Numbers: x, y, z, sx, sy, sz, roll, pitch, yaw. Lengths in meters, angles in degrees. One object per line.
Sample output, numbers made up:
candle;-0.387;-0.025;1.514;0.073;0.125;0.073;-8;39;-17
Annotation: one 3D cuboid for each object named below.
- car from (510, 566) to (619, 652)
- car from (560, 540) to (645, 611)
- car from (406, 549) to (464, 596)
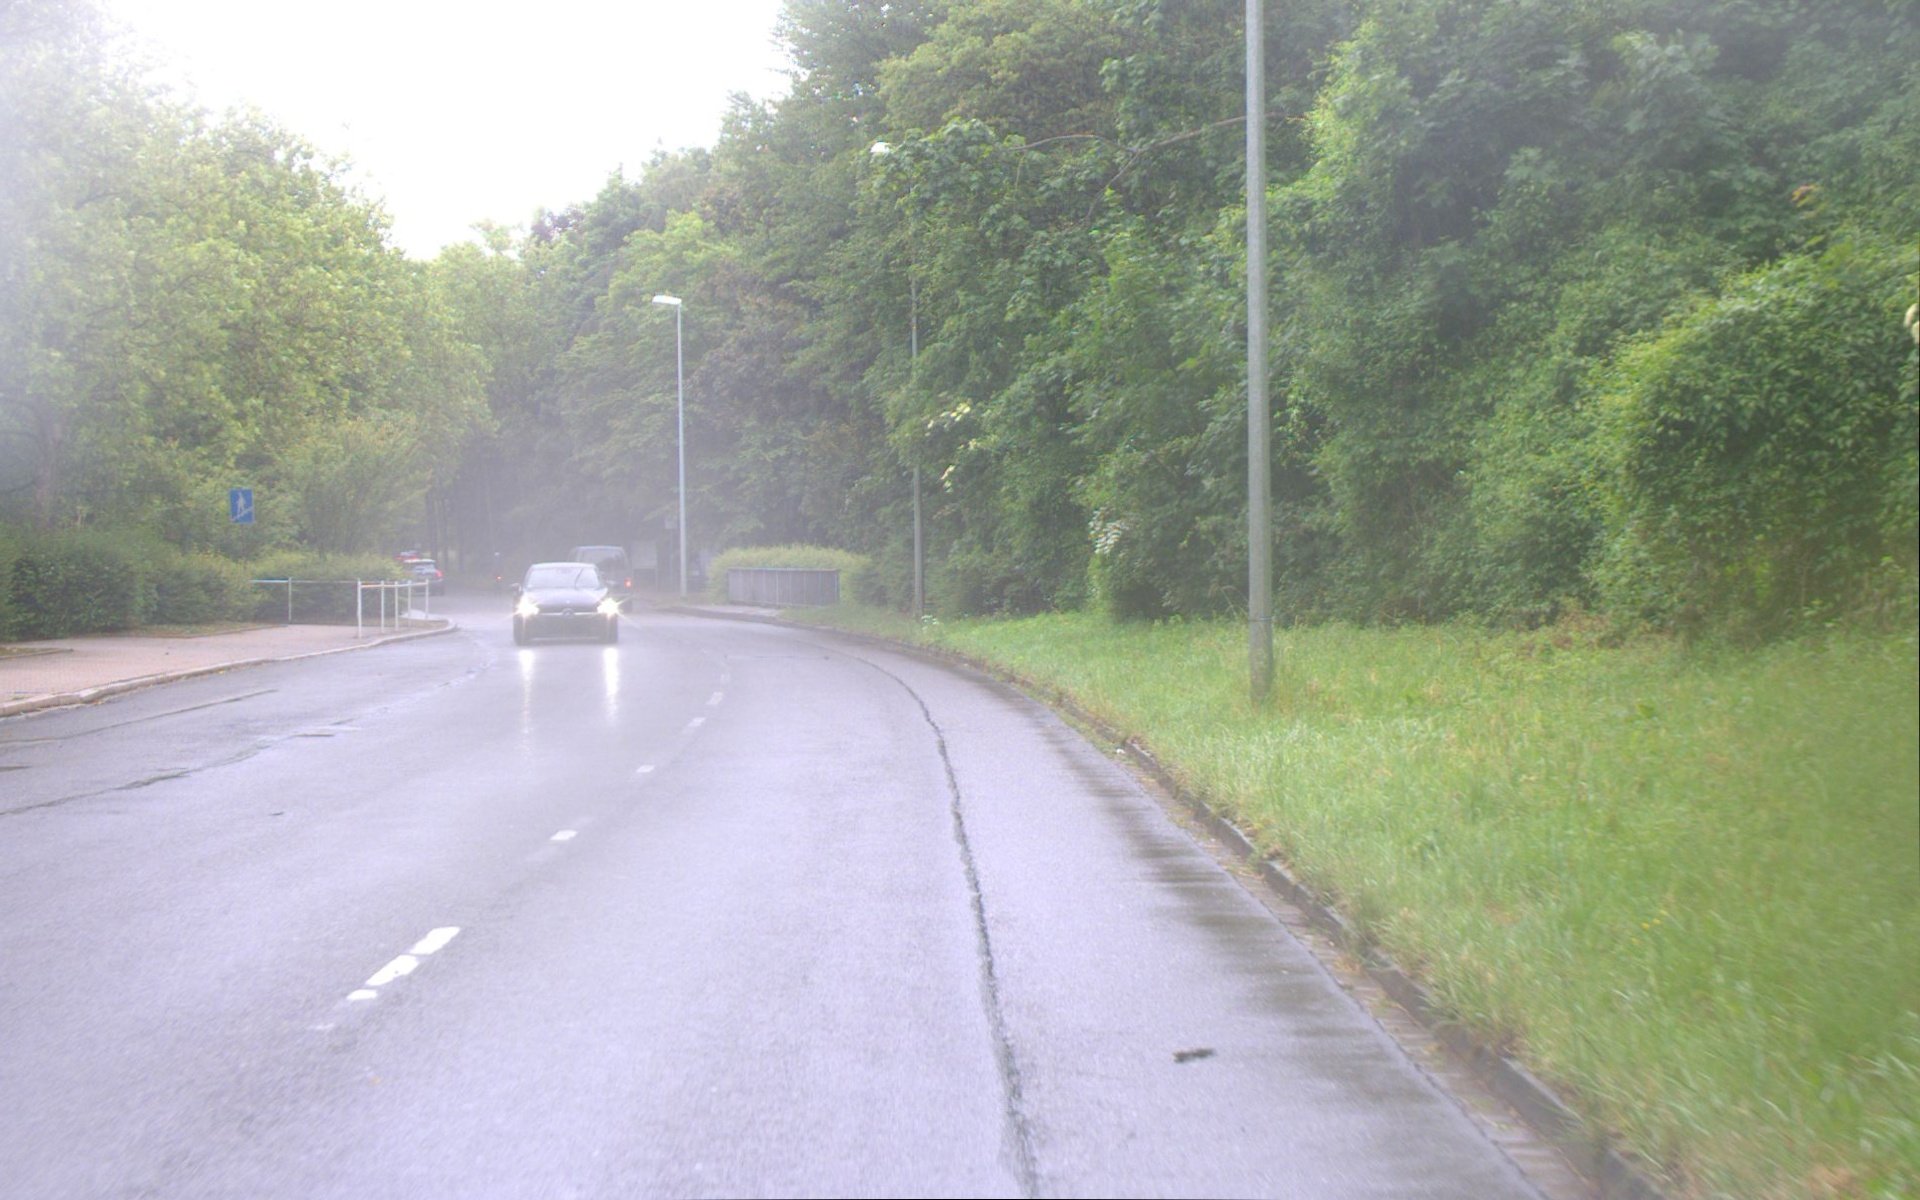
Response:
car;-7.068;0.136;61.692;1.826;1.460;4.001;-1;1;-5
car;-9.907;-0.685;95.082;1.985;1.919;4.001;0;1;-11
car;-20.875;-1.109;136.644;1.993;1.809;4.001;1;0;-13
